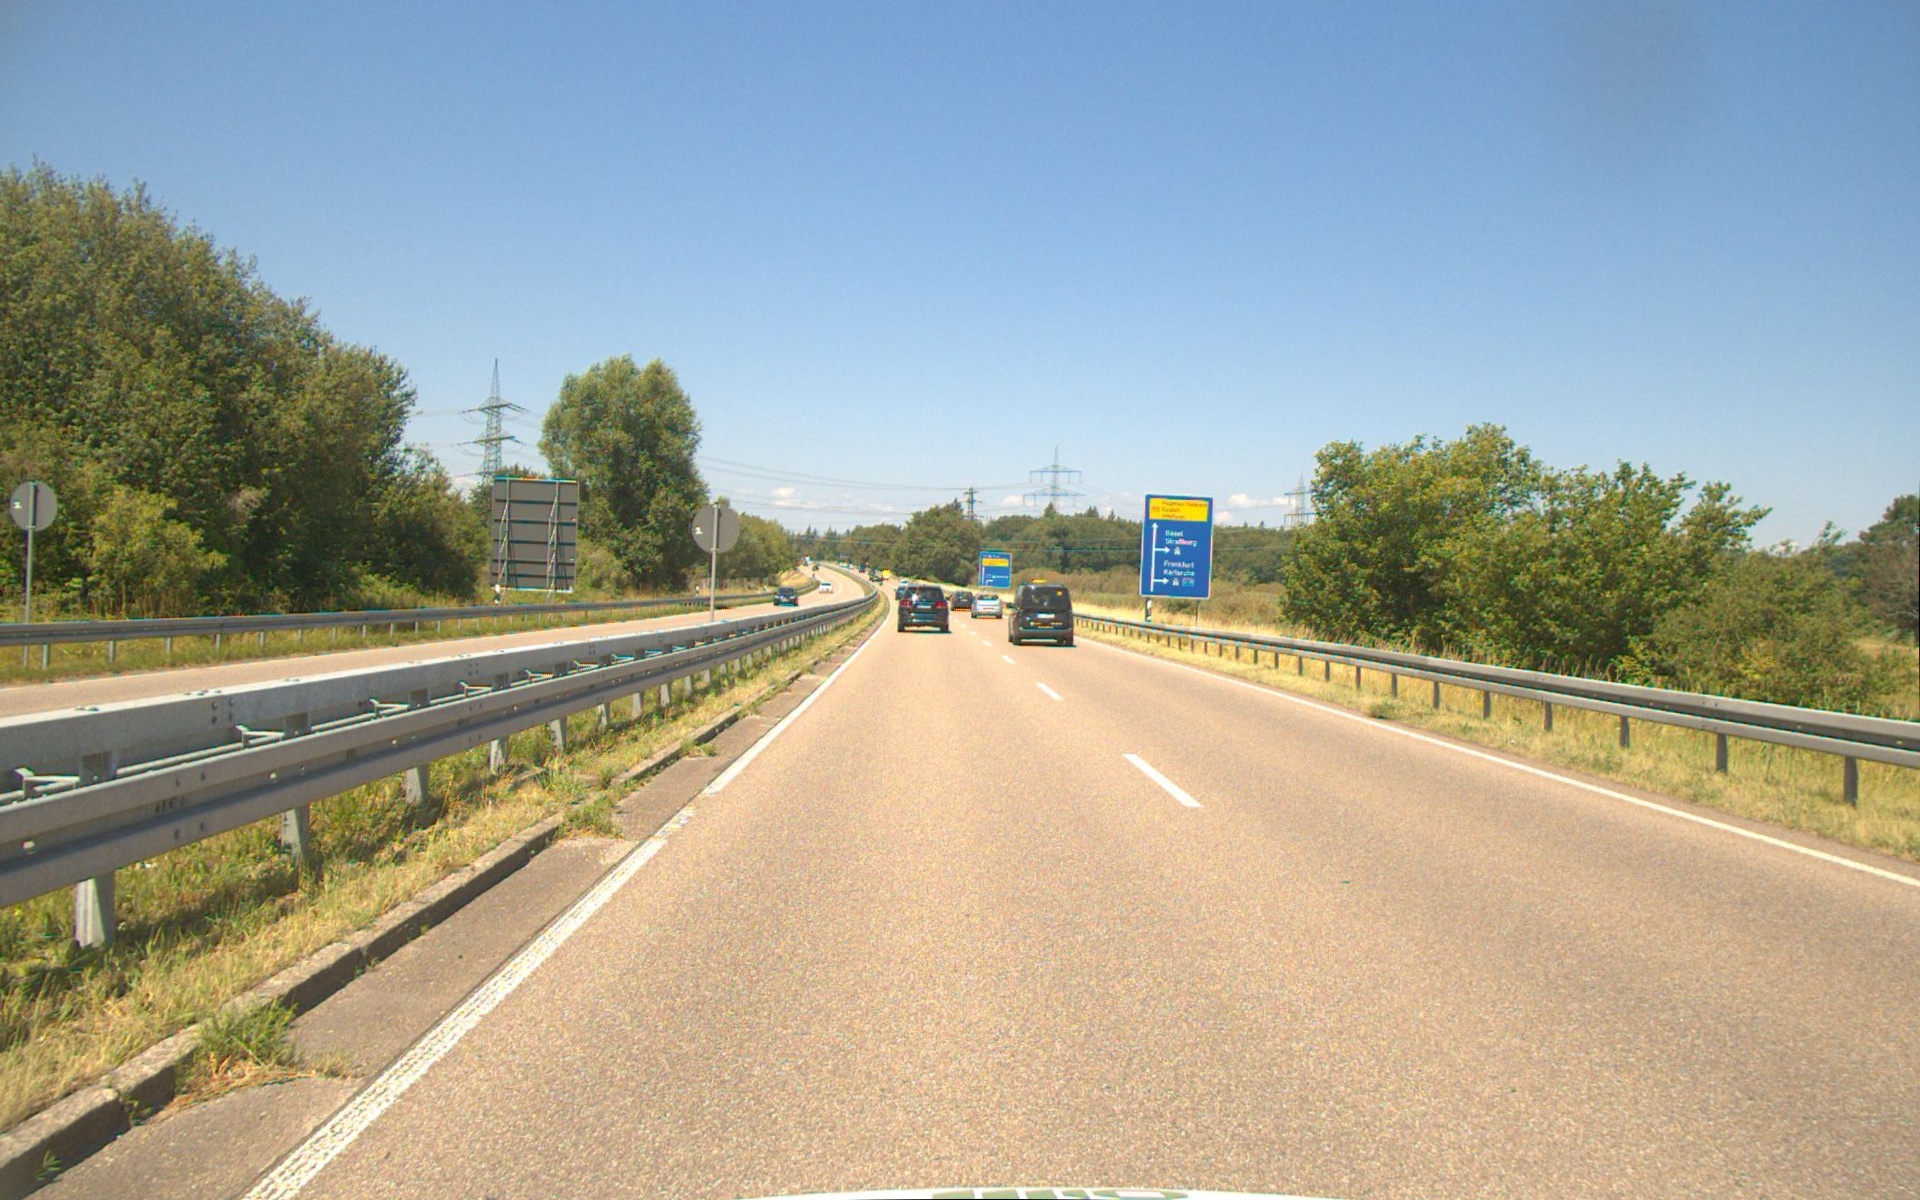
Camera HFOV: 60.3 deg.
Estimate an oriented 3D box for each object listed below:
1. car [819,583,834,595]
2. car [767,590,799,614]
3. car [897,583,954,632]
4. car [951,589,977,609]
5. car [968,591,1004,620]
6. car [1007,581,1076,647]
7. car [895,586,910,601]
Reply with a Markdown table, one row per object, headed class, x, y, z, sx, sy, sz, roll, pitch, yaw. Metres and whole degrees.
| class | x | y | z | sx | sy | sz | roll | pitch | yaw |
| --- | --- | --- | --- | --- | --- | --- | --- | --- | --- |
| car | -18.157 | -1.484 | 225.008 | 1.791 | 1.523 | 4.101 | 3 | 0 | -3 |
| car | -13.738 | 0.130 | 128.805 | 1.954 | 1.665 | 4.872 | 4 | 0 | -1 |
| car | -1.316 | 0.269 | 61.970 | 1.954 | 1.683 | 3.998 | 3 | 0 | -3 |
| car | 0.258 | -0.093 | 121.343 | 1.783 | 1.439 | 3.999 | 1 | 1 | -2 |
| car | 1.453 | 0.300 | 95.255 | 1.743 | 1.505 | 4.313 | 3 | 0 | -3 |
| car | 2.438 | 0.405 | 50.268 | 1.744 | 1.848 | 4.212 | 3 | 0 | -1 |
| car | -6.241 | -0.724 | 179.663 | 1.485 | 1.500 | 3.065 | 4 | 0 | -3 |
